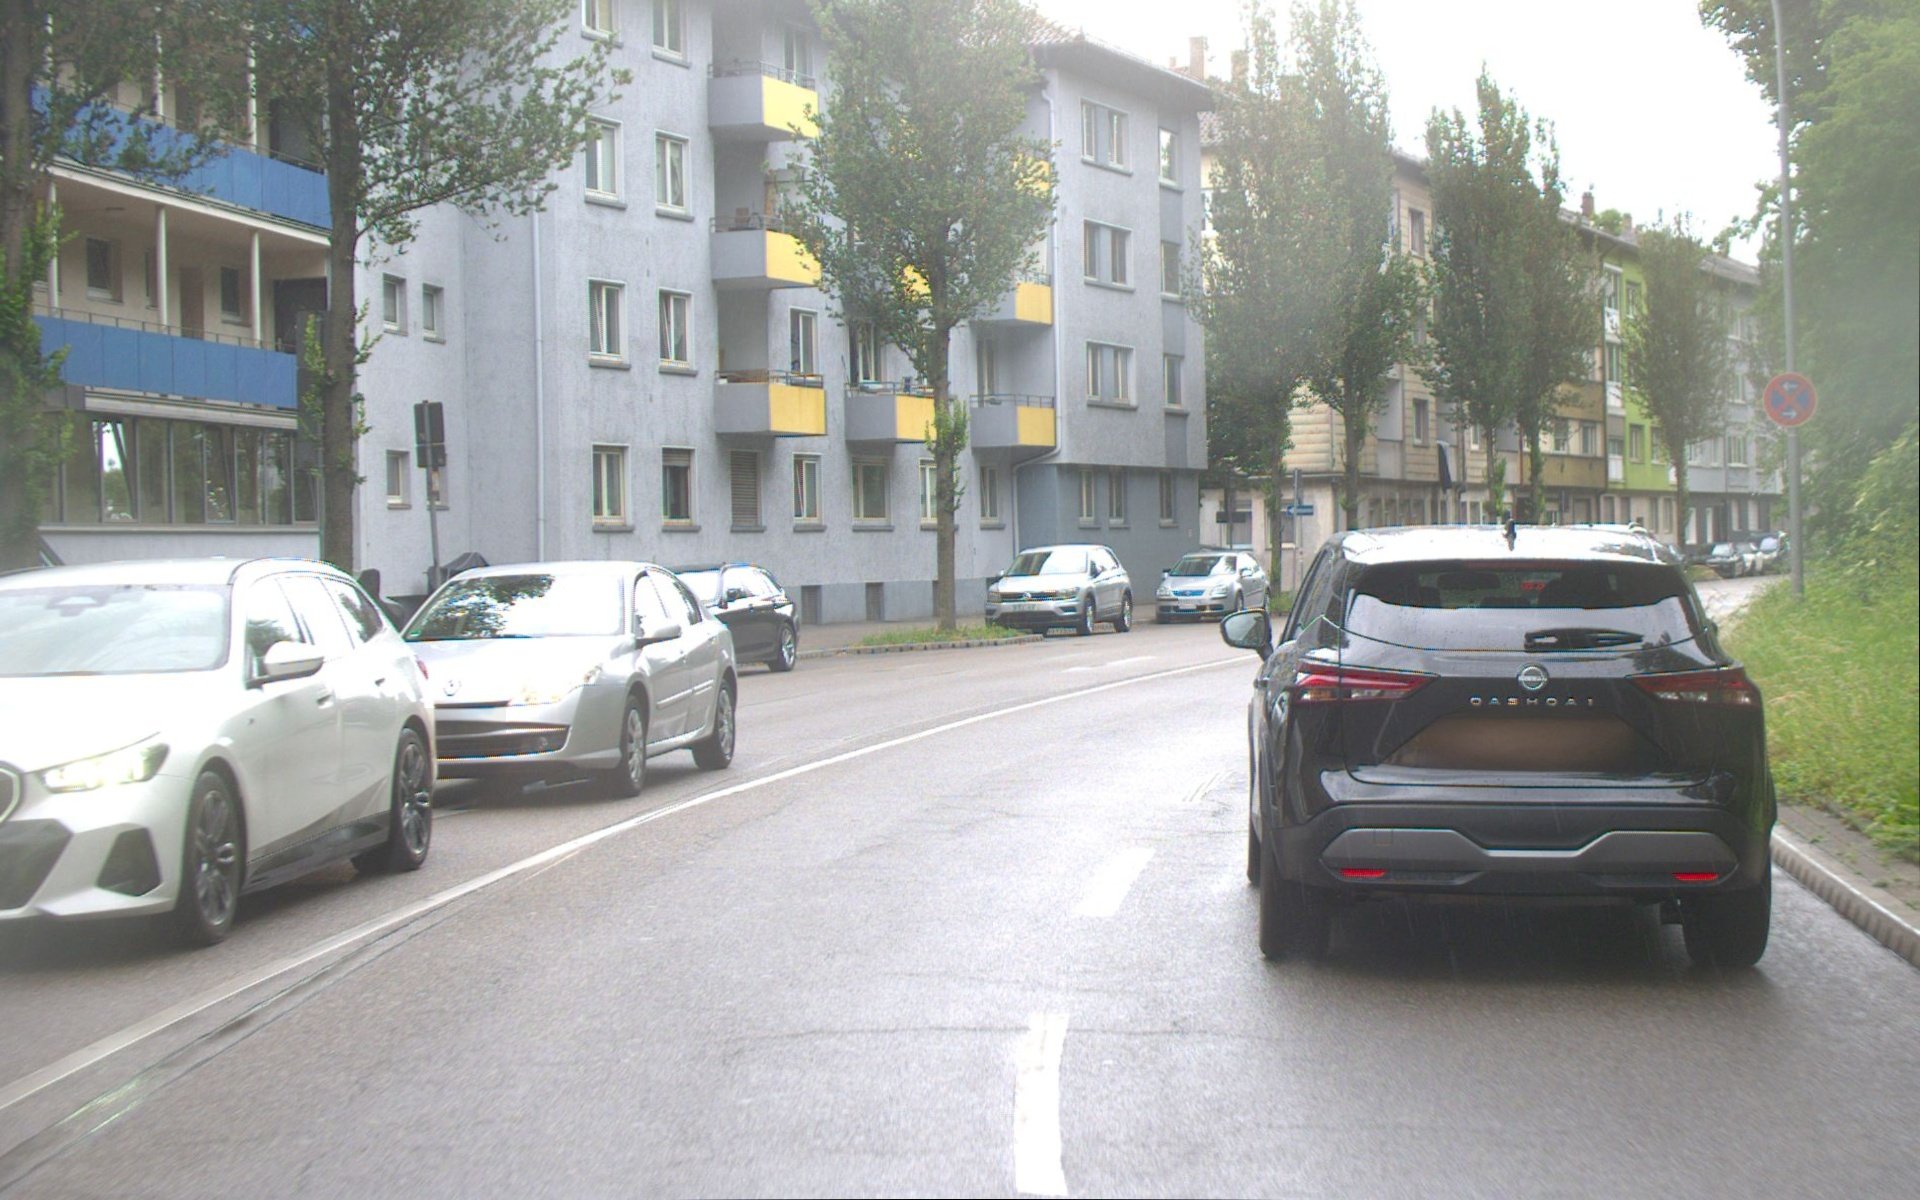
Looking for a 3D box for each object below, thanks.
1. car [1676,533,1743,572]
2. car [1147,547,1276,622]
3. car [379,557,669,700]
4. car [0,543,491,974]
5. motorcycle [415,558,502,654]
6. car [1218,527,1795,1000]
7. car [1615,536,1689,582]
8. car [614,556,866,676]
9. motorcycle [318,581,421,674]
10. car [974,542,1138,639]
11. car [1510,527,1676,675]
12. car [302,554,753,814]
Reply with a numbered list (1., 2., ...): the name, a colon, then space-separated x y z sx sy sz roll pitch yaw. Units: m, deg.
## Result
1. car: 29.352 -1.867 134.615 1.819 1.368 4.676 -3 0 21
2. car: 5.301 -0.340 71.965 1.725 1.448 4.202 -2 0 17
3. car: -4.862 0.285 38.903 1.781 1.398 4.086 -3 1 15
4. car: -3.542 0.556 14.895 1.820 1.511 5.027 -3 1 6
5. motorcycle: -7.706 0.075 52.931 0.675 1.409 2.235 1 1 9
6. car: 1.997 0.512 13.637 1.845 1.577 4.000 0 1 3
7. car: 24.829 -1.471 123.243 1.720 1.483 4.510 -3 0 22
8. car: -2.907 0.184 46.597 1.822 1.434 4.889 -3 0 16
9. motorcycle: -8.325 0.374 48.581 0.675 1.249 2.235 1 1 11
10. car: 1.770 -0.196 61.552 1.765 1.598 4.530 -2 1 17
11. car: 7.788 -0.018 42.052 1.888 1.705 3.998 -1 1 12
12. car: -2.628 0.459 21.987 1.753 1.420 4.536 -1 1 7
